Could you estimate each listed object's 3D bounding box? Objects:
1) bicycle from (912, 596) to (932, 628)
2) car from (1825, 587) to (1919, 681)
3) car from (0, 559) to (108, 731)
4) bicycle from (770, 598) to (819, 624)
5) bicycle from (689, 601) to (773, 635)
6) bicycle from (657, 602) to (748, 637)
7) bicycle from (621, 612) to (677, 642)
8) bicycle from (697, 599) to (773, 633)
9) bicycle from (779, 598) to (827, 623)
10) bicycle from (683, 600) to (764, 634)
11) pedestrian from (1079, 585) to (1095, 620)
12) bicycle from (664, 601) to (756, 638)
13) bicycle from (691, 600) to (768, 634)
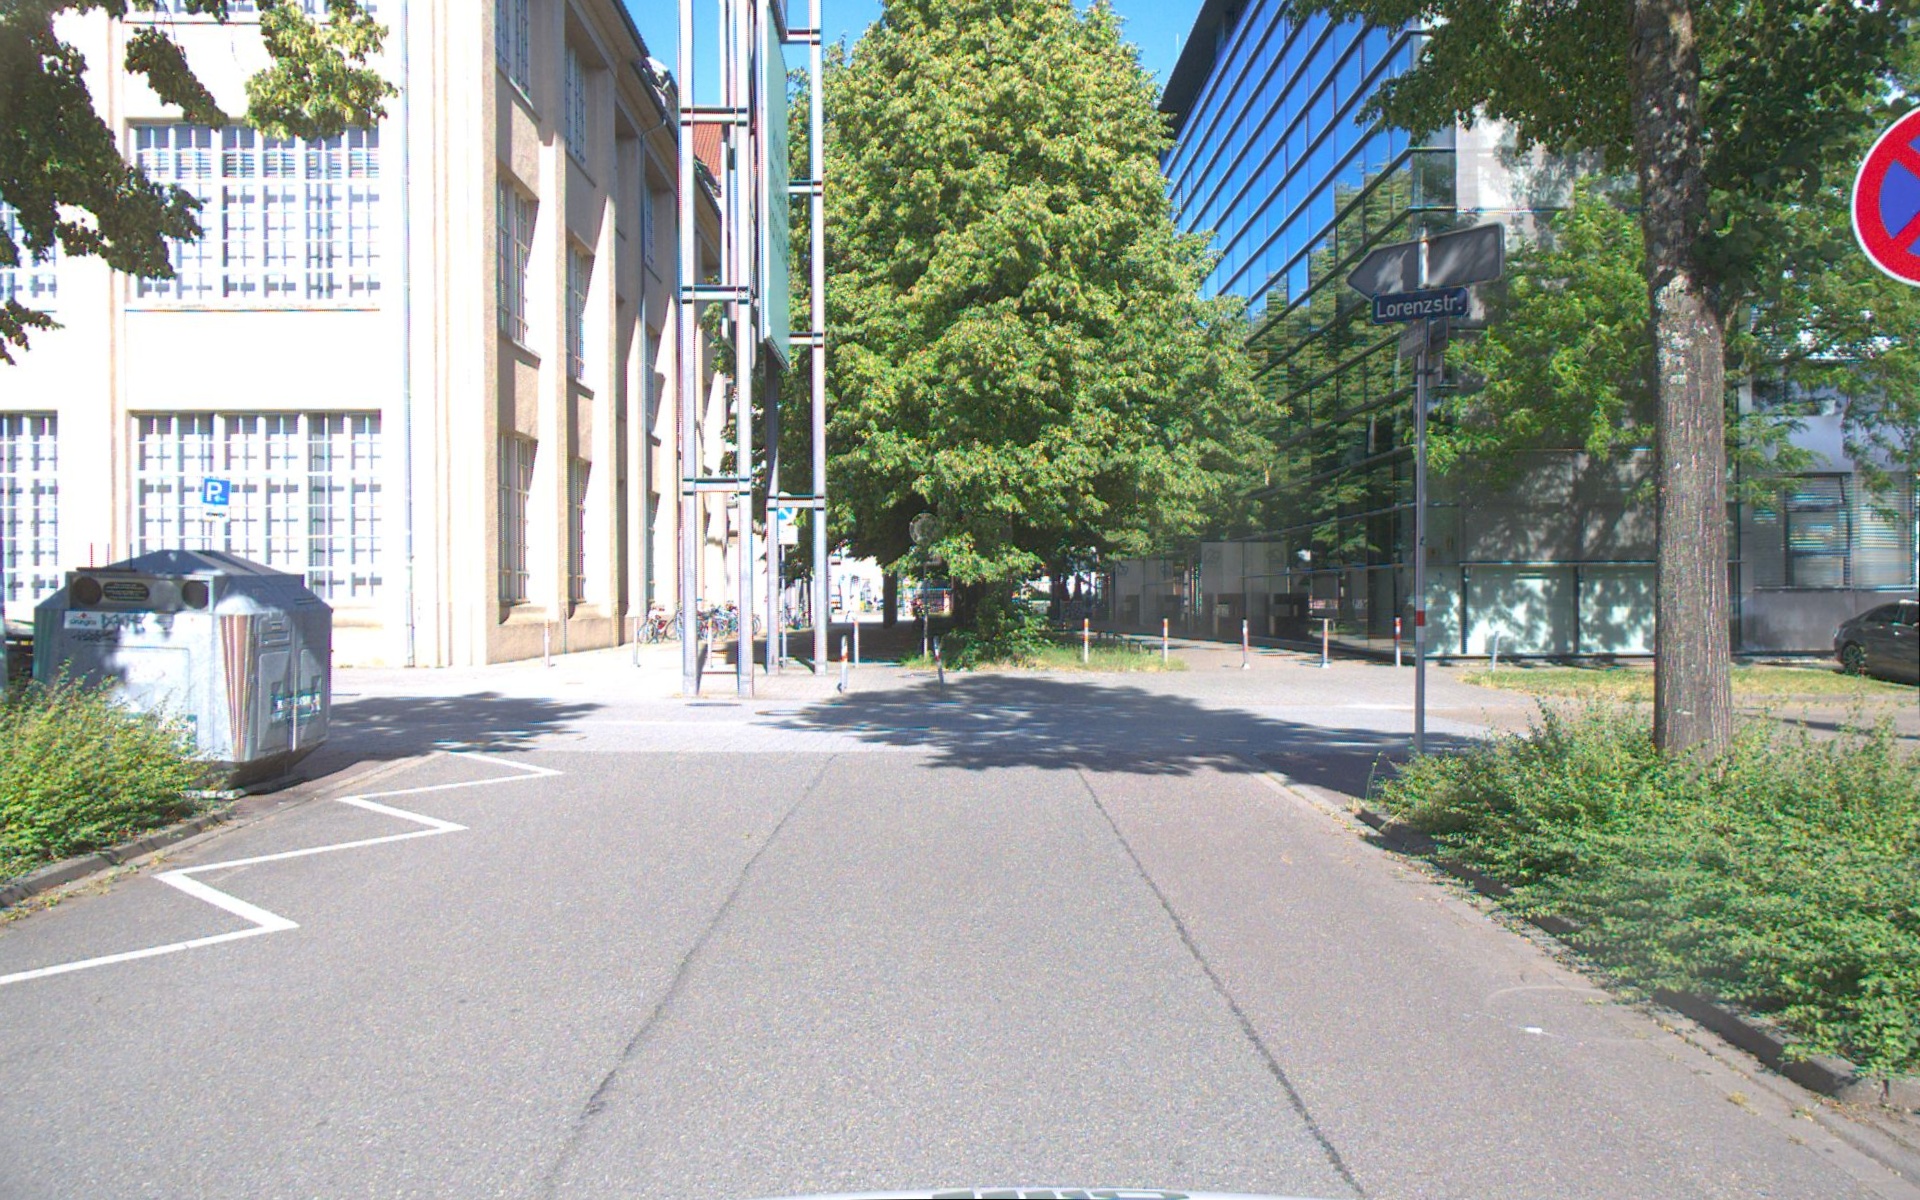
[{"bbox_3d":[-1.487,0.447,64.626,0.607,1.218,2.129,0,0,-6],"label":"bicycle"},{"bbox_3d":[16.195,0.568,26.845,1.848,1.374,4.550,0,3,-1],"label":"car"},{"bbox_3d":[-11.608,0.475,17.623,4.005,1.725,2.000,0,0,0],"label":"car"},{"bbox_3d":[-7.040,0.479,70.373,2.015,1.085,0.507,0,0,1],"label":"bicycle"},{"bbox_3d":[-7.631,0.594,55.178,2.746,1.081,0.718,0,0,-5],"label":"bicycle"},{"bbox_3d":[-8.128,0.614,52.235,2.743,1.081,0.718,0,0,-1],"label":"bicycle"},{"bbox_3d":[-8.907,0.765,47.488,0.761,0.806,2.886,0,0,7],"label":"bicycle"},{"bbox_3d":[-8.129,0.572,59.722,2.678,1.171,0.718,0,0,-5],"label":"bicycle"},{"bbox_3d":[-6.748,0.448,71.012,2.015,1.085,0.507,0,0,1],"label":"bicycle"},{"bbox_3d":[-8.207,0.584,57.435,2.746,1.171,0.718,0,0,-5],"label":"bicycle"},{"bbox_3d":[5.830,0.127,75.667,0.701,1.577,0.690,0,0,5],"label":"pedestrian"},{"bbox_3d":[-7.654,0.596,50.682,2.746,1.081,0.718,0,0,-5],"label":"bicycle"},{"bbox_3d":[-8.202,0.607,58.931,2.678,1.171,0.718,0,0,-5],"label":"bicycle"}]
